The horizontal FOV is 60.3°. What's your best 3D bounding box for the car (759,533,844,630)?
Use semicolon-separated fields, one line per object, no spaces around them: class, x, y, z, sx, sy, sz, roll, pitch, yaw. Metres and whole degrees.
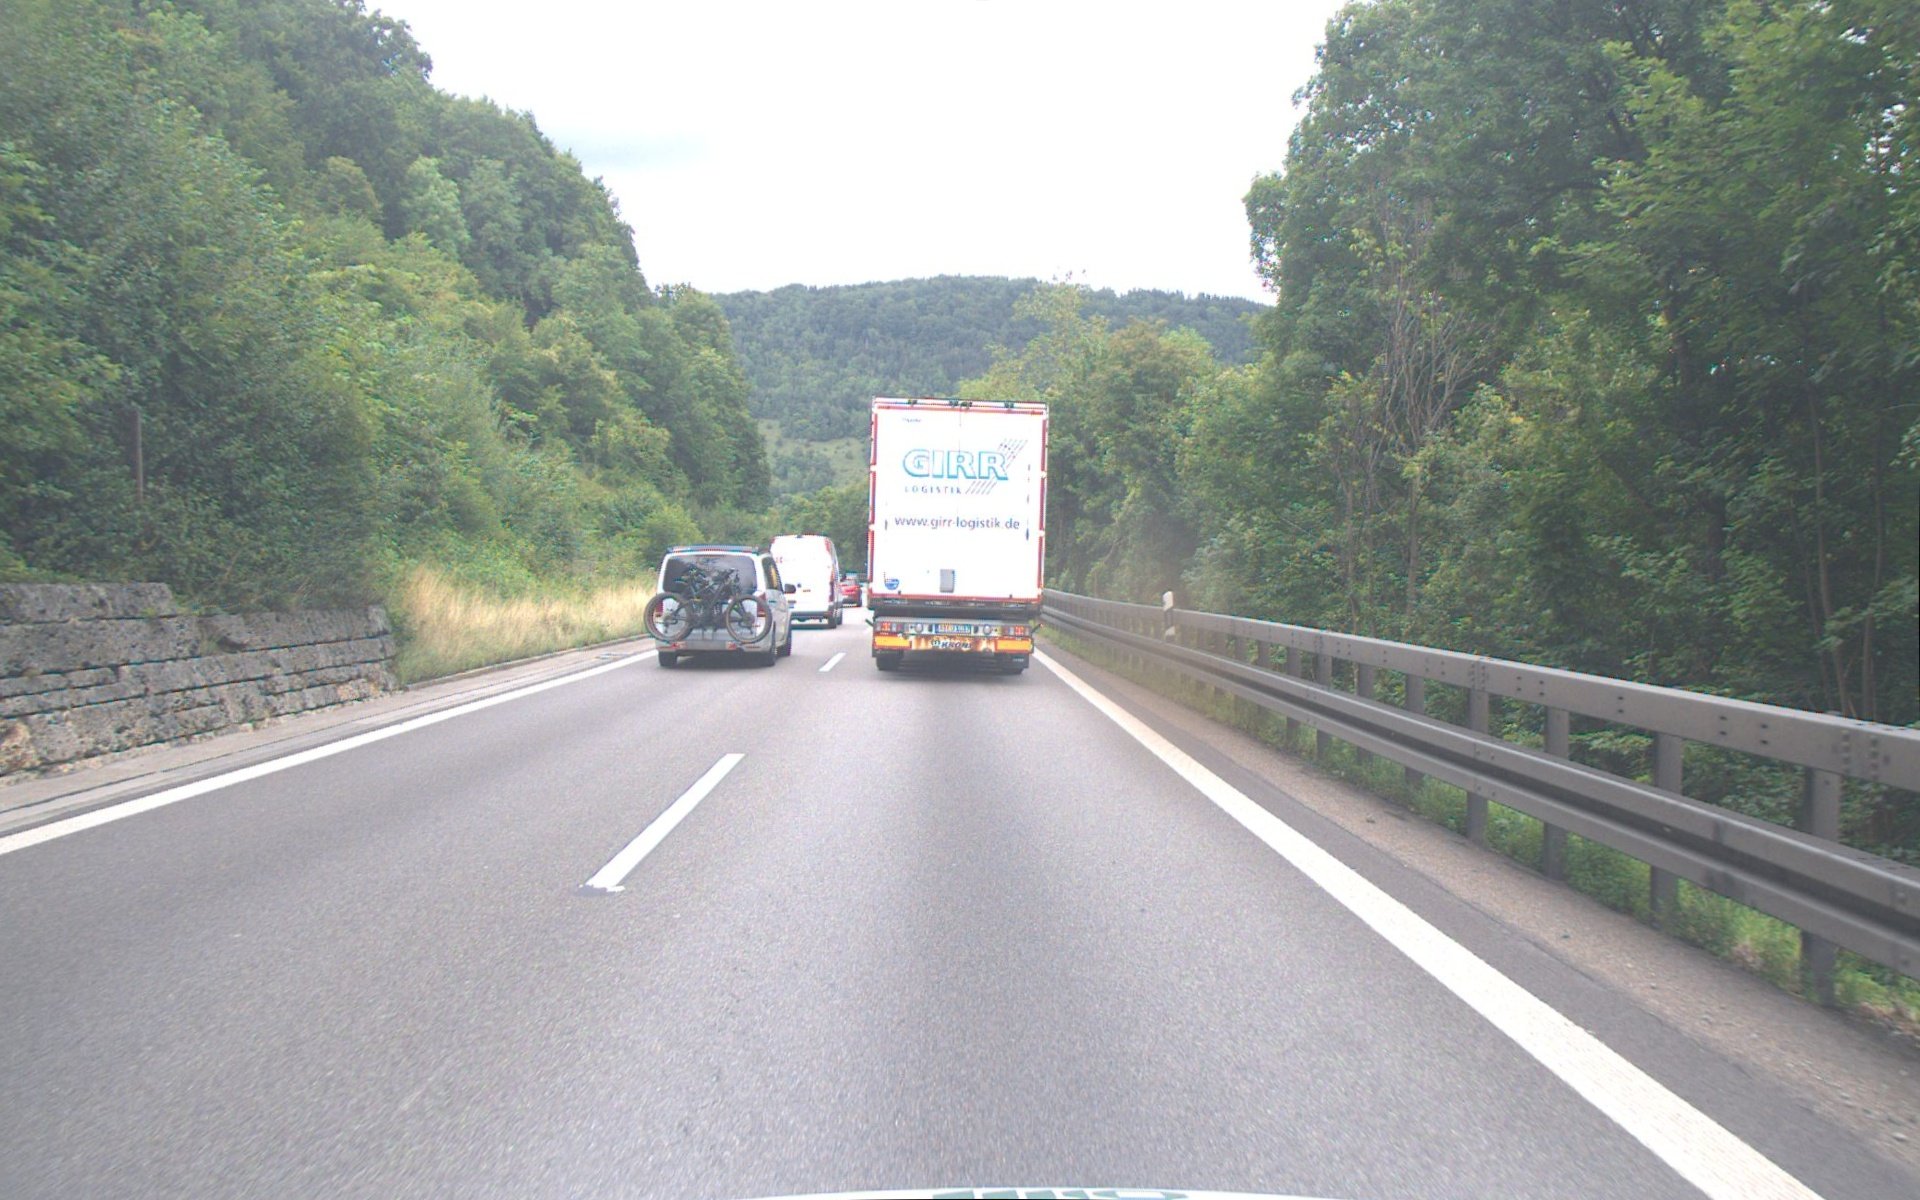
car;-4.564;-0.564;48.383;2.081;2.644;5.561;-1;1;-2

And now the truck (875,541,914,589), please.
truck;-5.508;-2.879;138.434;3.008;3.945;8.452;0;0;-4

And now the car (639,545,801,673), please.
car;-3.918;0.090;27.906;1.977;1.947;5.563;0;1;-1

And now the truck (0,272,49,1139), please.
truck;-3.579;0.305;1.182;2.302;2.313;6.846;0;0;-2

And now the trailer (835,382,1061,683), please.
trailer;-0.217;-1.009;27.730;3.069;4.113;9.438;1;1;-1

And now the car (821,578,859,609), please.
car;-5.828;-0.331;80.717;1.649;1.478;3.764;-1;1;-1

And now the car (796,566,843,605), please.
car;-5.716;-0.578;67.630;1.649;1.540;3.764;0;0;-1
